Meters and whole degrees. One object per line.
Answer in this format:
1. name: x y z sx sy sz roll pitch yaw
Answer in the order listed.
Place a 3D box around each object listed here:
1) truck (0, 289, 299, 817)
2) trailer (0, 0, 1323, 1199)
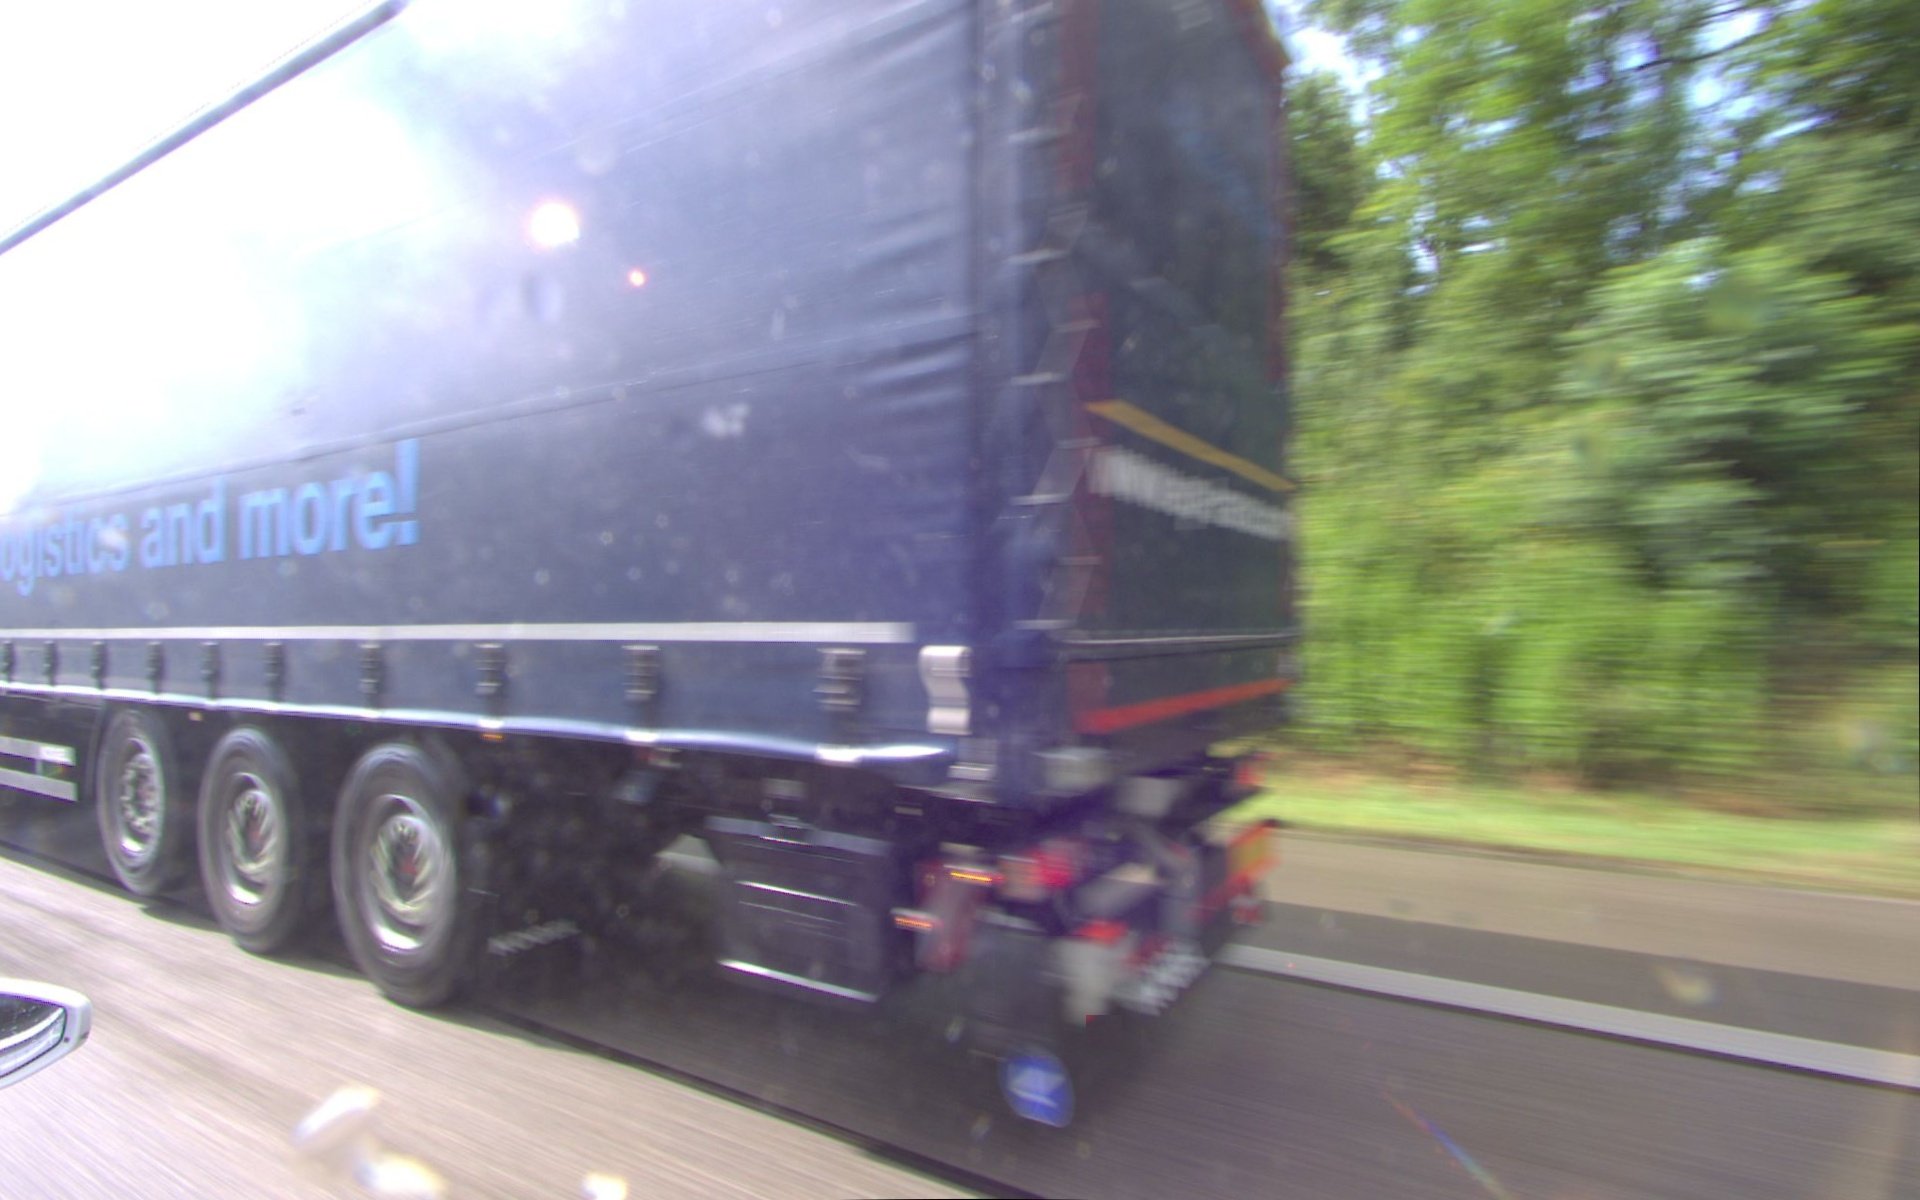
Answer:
1. truck: -9.961 -0.254 10.285 7.187 4.046 2.602 -1 -2 33
2. trailer: -4.935 -0.366 7.066 13.866 4.046 2.630 -2 -2 33
